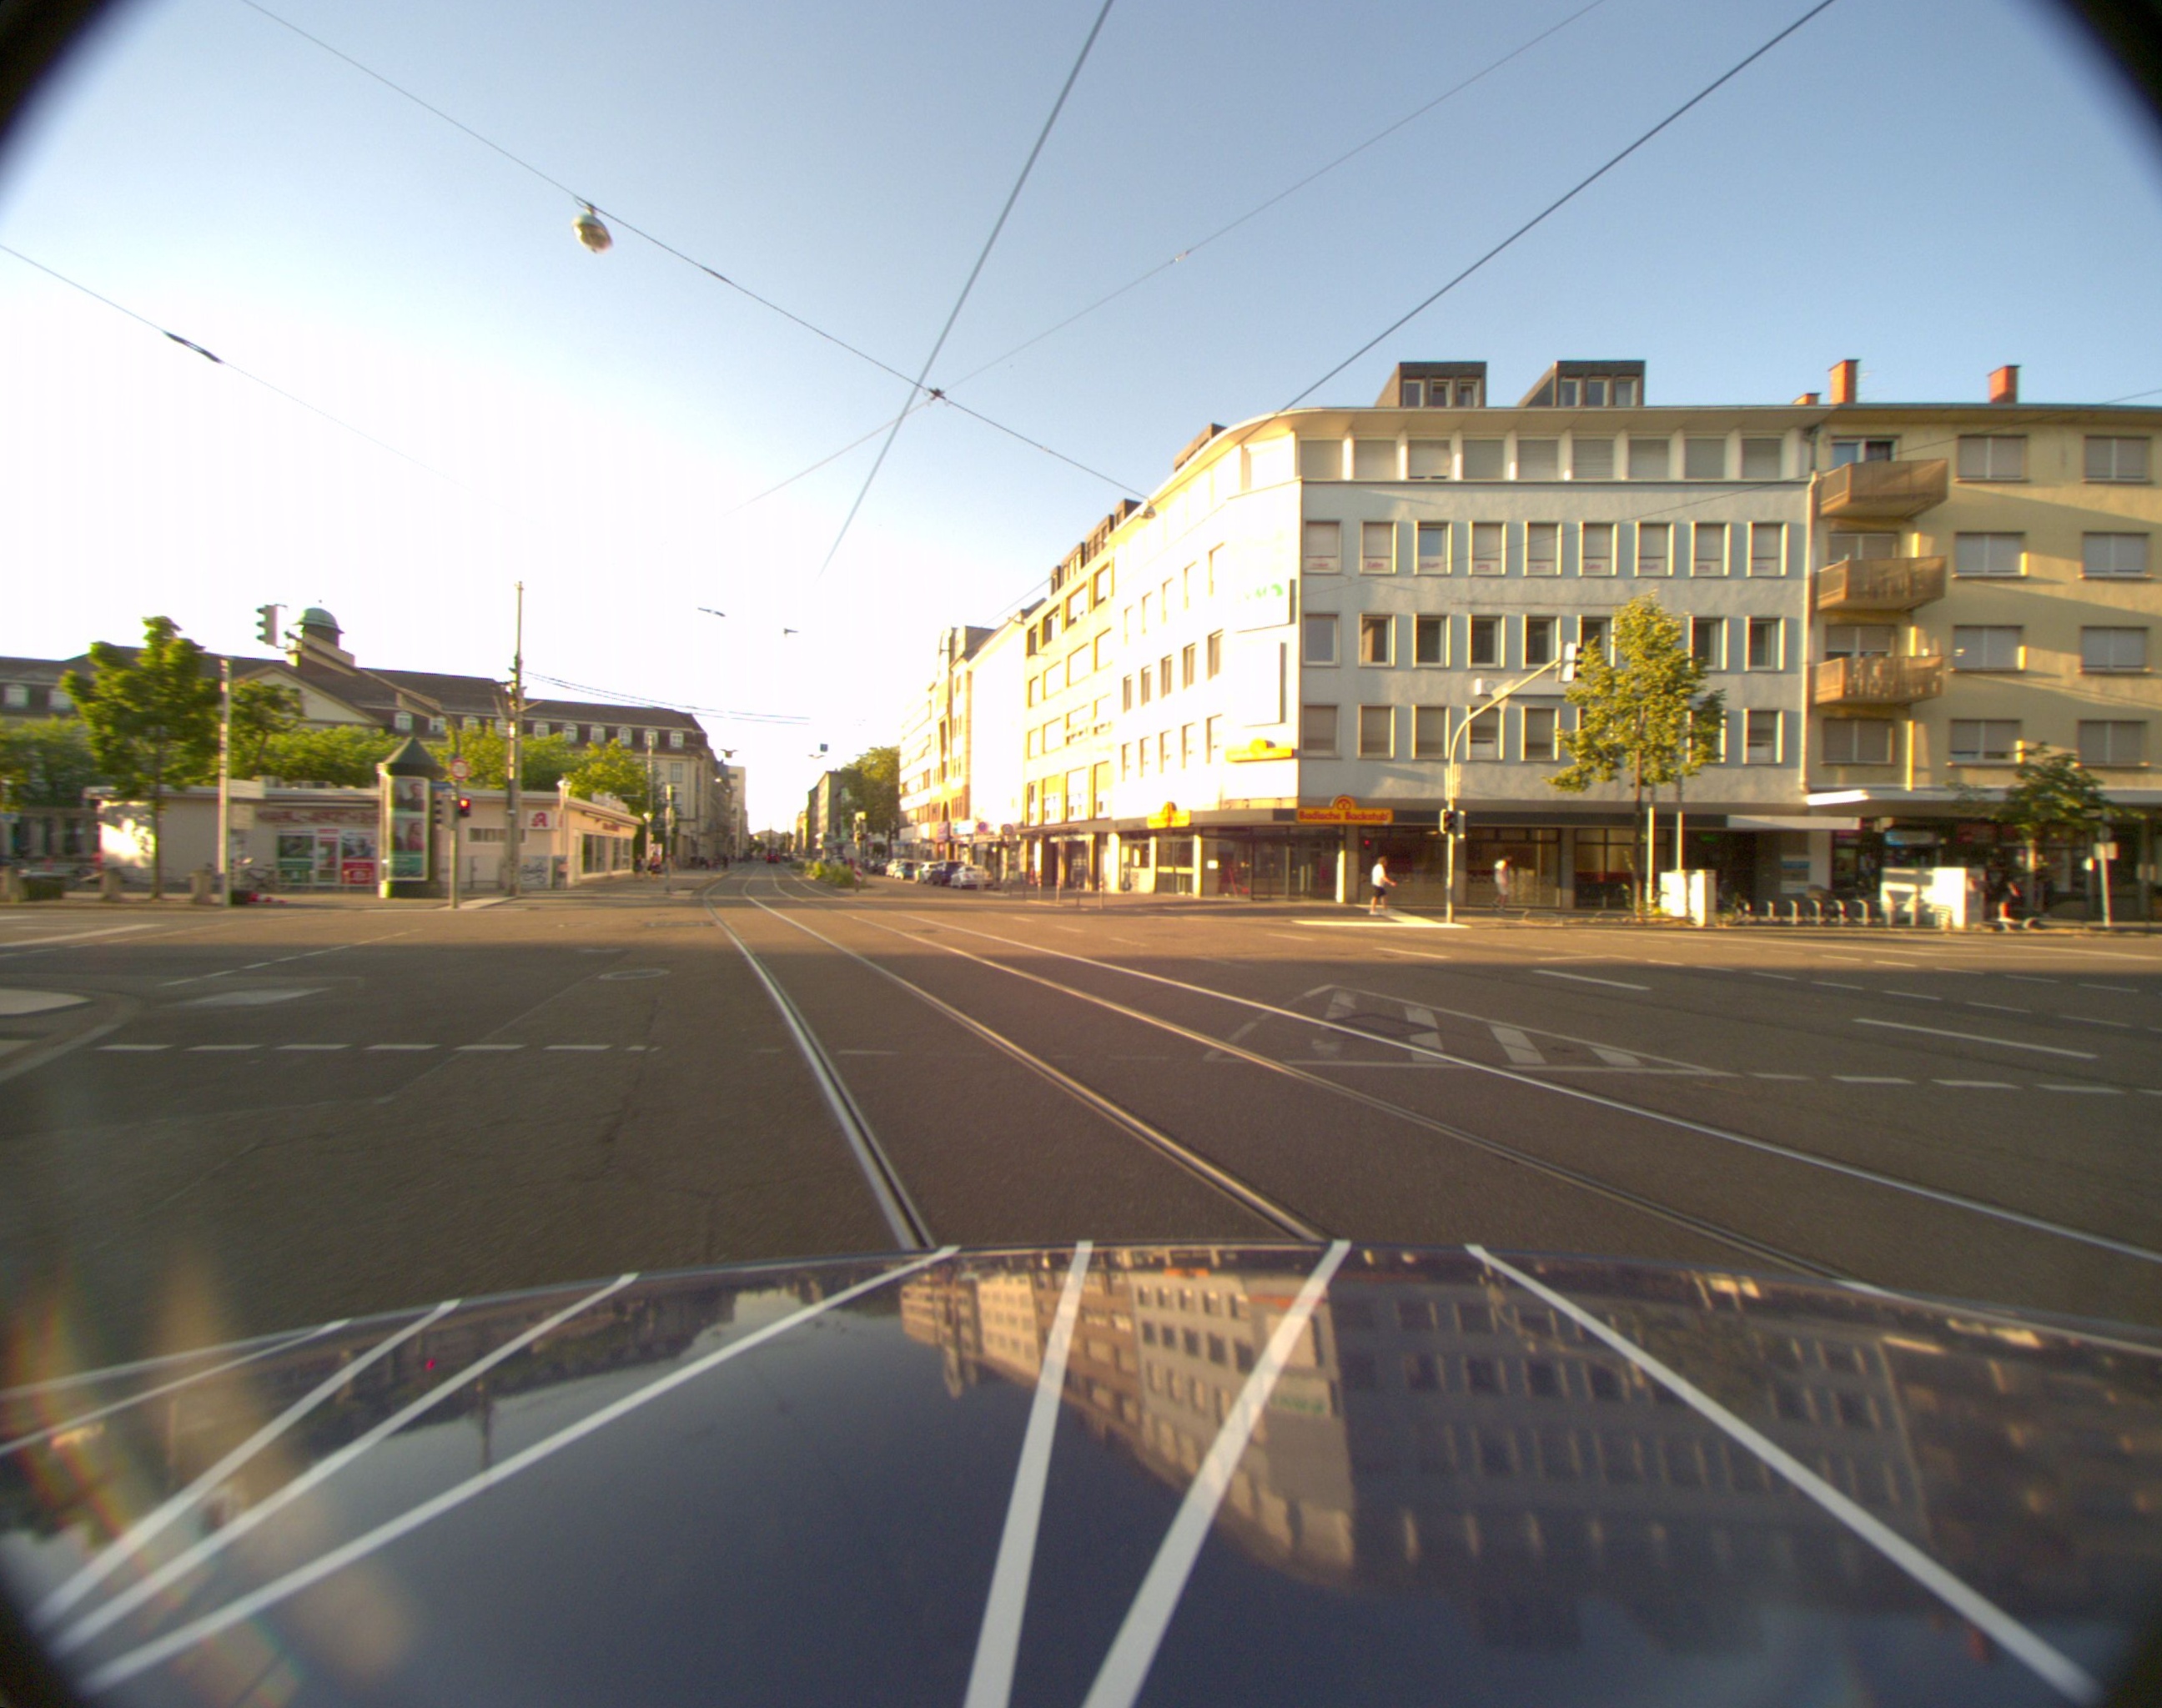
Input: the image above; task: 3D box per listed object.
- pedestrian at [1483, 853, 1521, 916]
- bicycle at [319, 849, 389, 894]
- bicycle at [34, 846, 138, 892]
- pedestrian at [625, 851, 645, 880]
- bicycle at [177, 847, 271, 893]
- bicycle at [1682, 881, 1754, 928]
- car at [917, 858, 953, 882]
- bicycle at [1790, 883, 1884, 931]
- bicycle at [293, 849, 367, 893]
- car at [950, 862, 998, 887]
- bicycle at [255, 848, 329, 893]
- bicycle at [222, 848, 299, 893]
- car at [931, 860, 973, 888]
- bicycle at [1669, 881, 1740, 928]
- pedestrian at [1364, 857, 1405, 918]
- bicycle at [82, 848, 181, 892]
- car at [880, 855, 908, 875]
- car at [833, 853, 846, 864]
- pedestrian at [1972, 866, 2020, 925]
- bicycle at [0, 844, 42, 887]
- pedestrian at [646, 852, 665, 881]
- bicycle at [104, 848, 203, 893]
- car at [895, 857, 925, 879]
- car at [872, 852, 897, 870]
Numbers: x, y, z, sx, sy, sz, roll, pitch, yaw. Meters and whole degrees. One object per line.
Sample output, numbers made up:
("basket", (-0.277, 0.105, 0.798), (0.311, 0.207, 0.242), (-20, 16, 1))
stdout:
("pedestrian", (13.153, 0.928, 23.720), (0.991, 1.876, 0.808), (1, 2, 29))
("bicycle", (-25.477, 0.608, 26.670), (0.479, 1.514, 1.992), (1, 0, 2))
("bicycle", (-34.984, 0.506, 26.763), (0.680, 1.514, 2.230), (1, 0, 3))
("pedestrian", (-25.384, 0.637, 43.269), (0.807, 1.603, 0.992), (-1, 2, -23))
("bicycle", (-29.968, 0.539, 26.633), (0.680, 1.514, 2.230), (1, 0, 3))
("bicycle", (17.766, 1.391, 21.235), (0.469, 1.196, 1.919), (1, 0, 3))
("car", (-10.245, 1.093, 53.158), (1.851, 1.625, 3.993), (1, 0, -20))
("bicycle", (21.016, 1.452, 21.181), (0.470, 1.196, 1.917), (1, 0, -9))
("bicycle", (-26.650, 0.589, 27.007), (0.478, 1.514, 1.993), (1, 0, 8))
("car", (-6.090, 1.125, 42.920), (1.851, 1.287, 3.993), (1, 0, -20))
("bicycle", (-27.882, 0.568, 26.893), (0.479, 1.514, 1.992), (1, 0, 3))
("bicycle", (-28.921, 0.551, 26.824), (0.479, 1.514, 1.992), (1, 0, 3))
("car", (-8.036, 1.218, 47.137), (1.851, 1.625, 3.993), (1, 0, -20))
("bicycle", (17.269, 1.372, 21.095), (0.469, 1.196, 1.919), (1, 0, 3))
("pedestrian", (8.977, 0.973, 22.460), (0.991, 1.716, 0.808), (1, 2, 29))
("bicycle", (-33.890, 0.559, 27.174), (0.680, 1.514, 2.230), (1, 0, 3))
("car", (-16.055, 0.910, 65.040), (1.851, 1.625, 3.993), (1, 0, -20))
("car", (-38.114, 0.655, 119.945), (1.851, 1.625, 3.993), (1, 0, -20))
("pedestrian", (28.580, 1.296, 23.743), (0.649, 1.796, 0.710), (2, -2, 1))
("bicycle", (-38.134, 0.402, 26.484), (0.680, 1.514, 2.231), (1, 0, 6))
("pedestrian", (-24.415, 0.713, 43.586), (0.807, 1.603, 0.992), (-1, 2, -23))
("bicycle", (-32.605, 0.558, 26.774), (0.680, 1.514, 2.230), (1, 0, 3))
("car", (-13.572, 1.091, 60.228), (1.851, 1.625, 3.993), (1, 0, -20))
("car", (-18.458, 0.643, 71.230), (1.851, 1.625, 3.993), (1, 0, -20))
